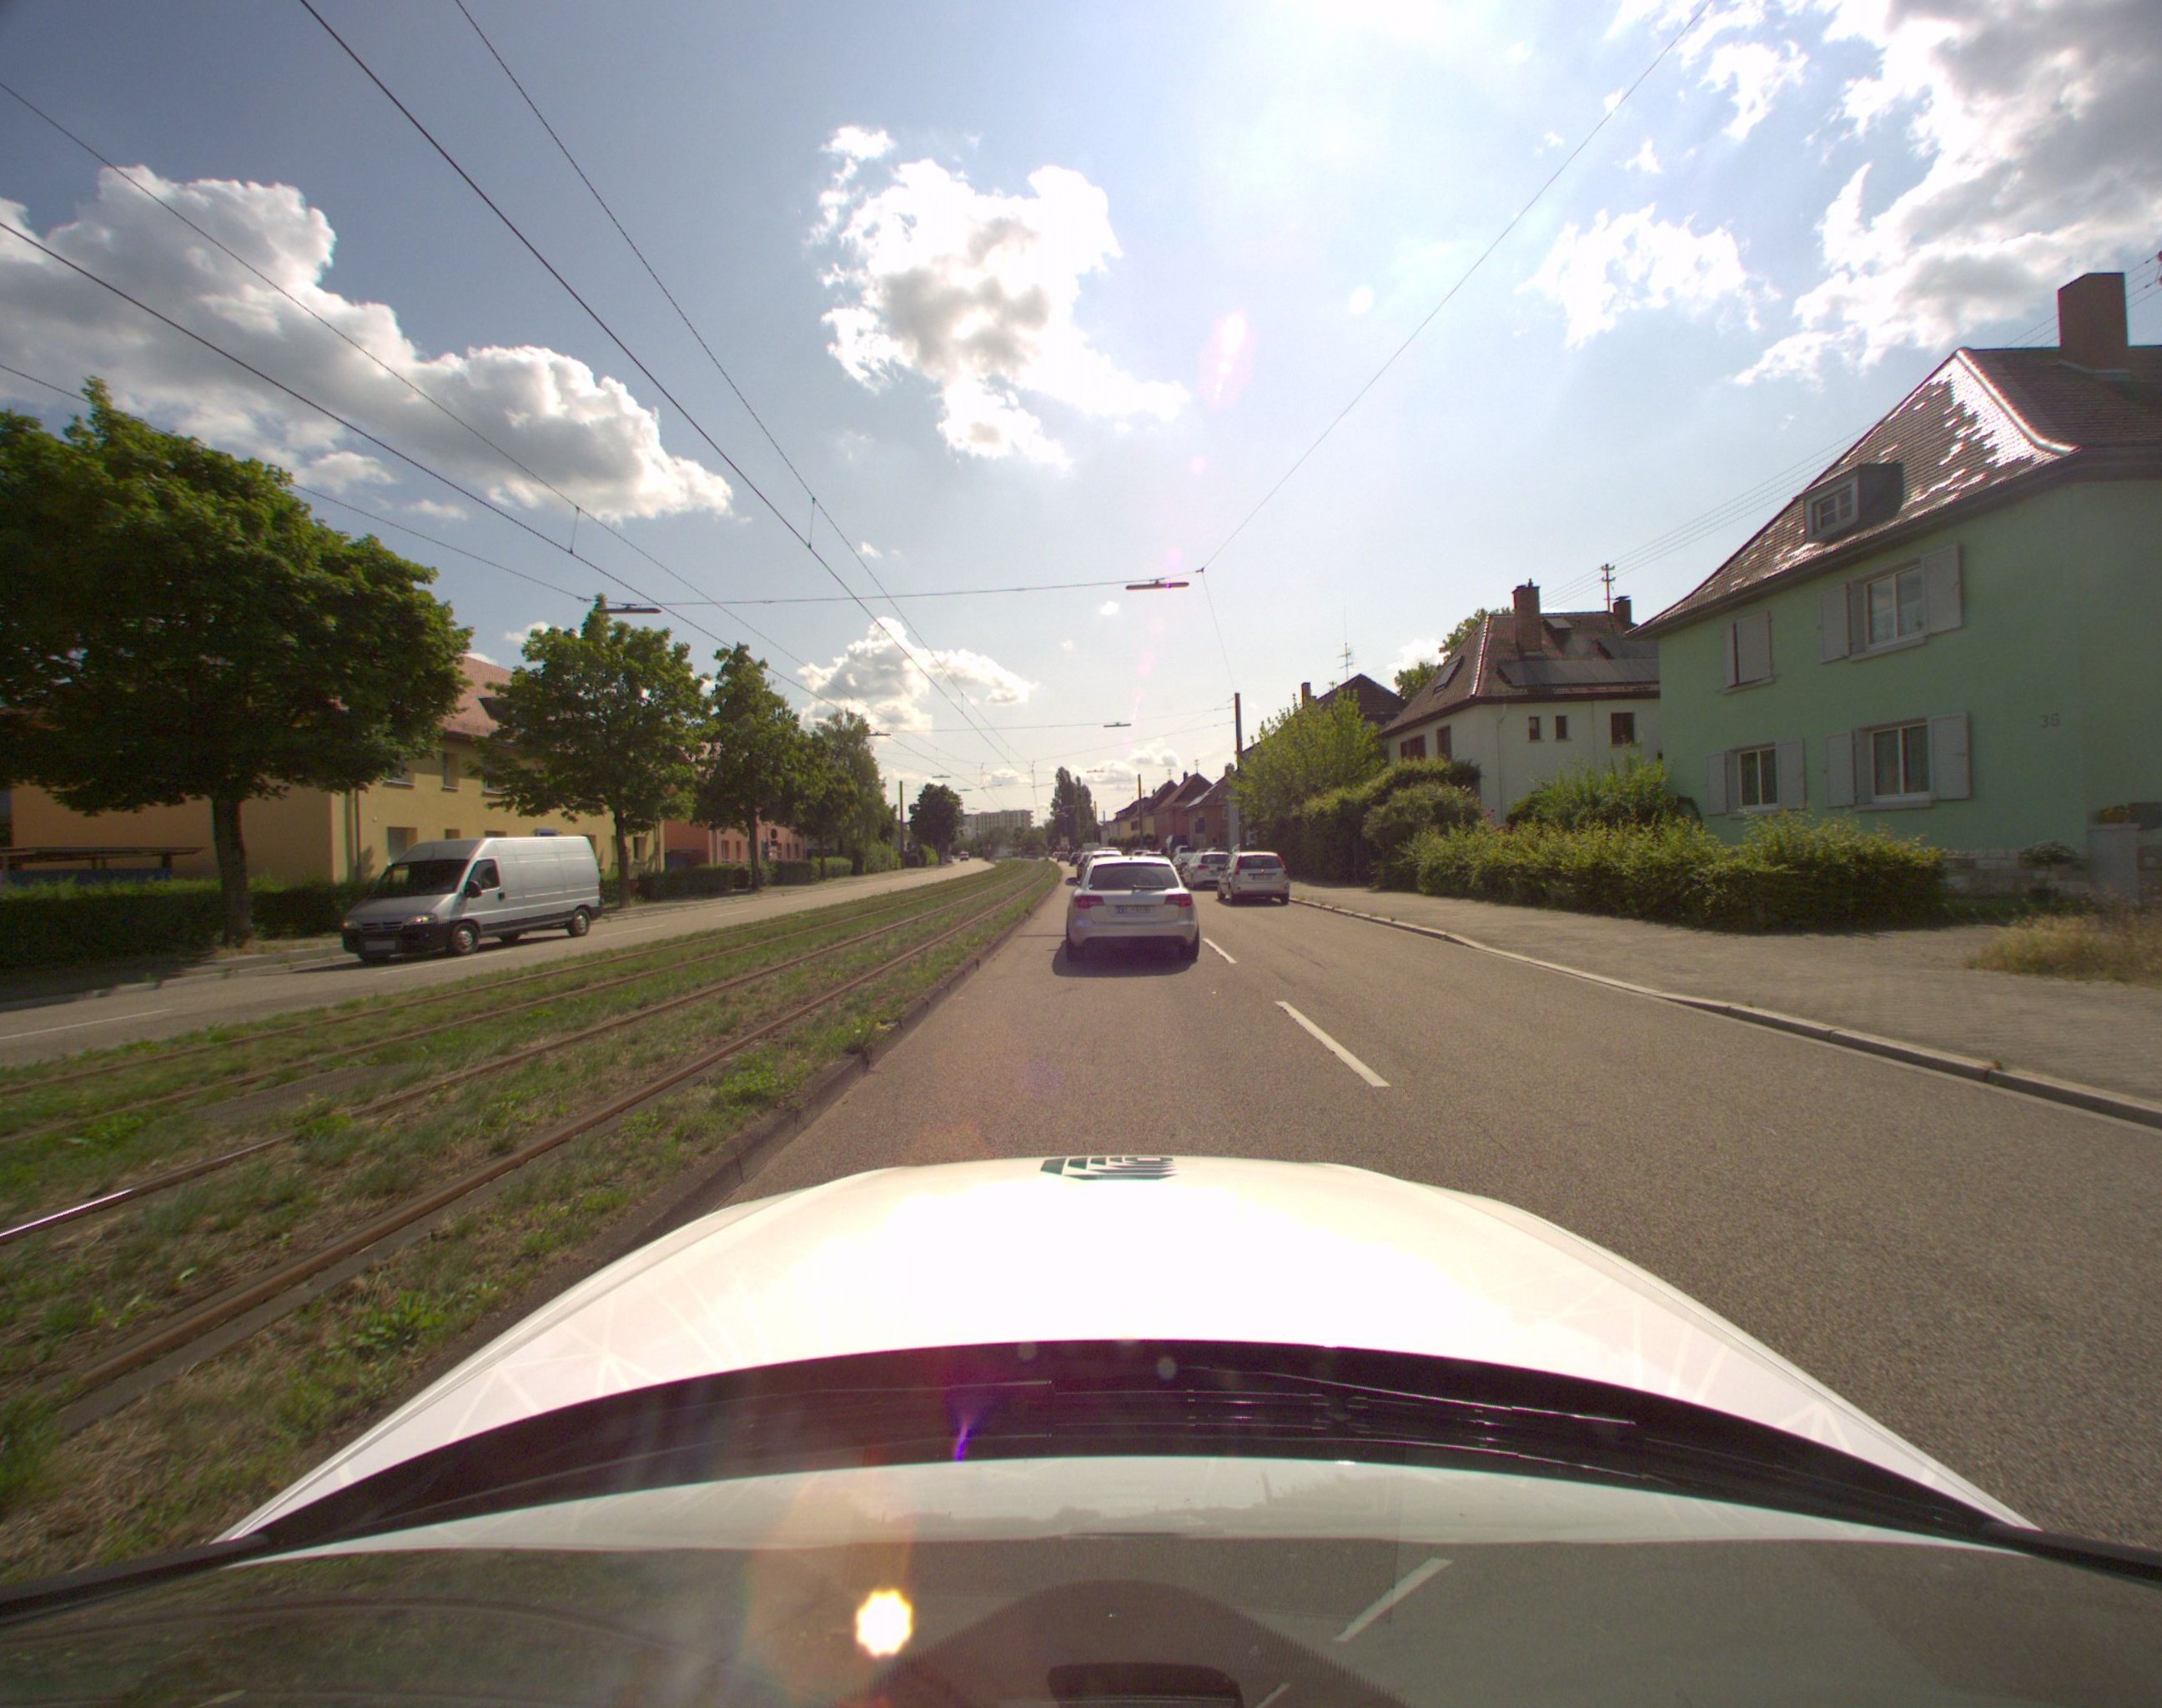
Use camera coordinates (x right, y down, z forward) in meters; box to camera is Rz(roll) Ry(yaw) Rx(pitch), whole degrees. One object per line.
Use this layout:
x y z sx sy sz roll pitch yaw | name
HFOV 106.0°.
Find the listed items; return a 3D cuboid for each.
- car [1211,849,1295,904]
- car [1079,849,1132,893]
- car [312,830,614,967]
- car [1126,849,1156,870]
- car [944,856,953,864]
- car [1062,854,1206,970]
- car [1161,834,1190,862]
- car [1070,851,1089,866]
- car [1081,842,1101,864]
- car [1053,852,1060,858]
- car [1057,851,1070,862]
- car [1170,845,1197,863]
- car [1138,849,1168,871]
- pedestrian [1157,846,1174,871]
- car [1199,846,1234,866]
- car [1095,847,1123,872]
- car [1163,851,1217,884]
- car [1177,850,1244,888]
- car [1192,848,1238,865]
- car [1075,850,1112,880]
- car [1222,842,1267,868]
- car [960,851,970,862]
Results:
5.015 0.621 24.241 1.730 1.489 4.096 0 -1 2 | car
0.885 0.614 31.687 1.782 1.577 4.091 0 0 -2 | car
-13.214 0.828 18.117 2.024 2.436 5.780 -4 0 2 | car
4.683 0.428 64.485 1.803 1.559 4.248 0 -1 -4 | car
-28.800 1.263 177.250 1.784 1.584 3.923 -2 0 -6 | car
0.703 0.756 12.907 1.848 1.492 4.535 -1 0 0 | car
10.092 -0.596 87.391 2.146 2.930 6.239 0 -1 -2 | car
-0.194 0.519 86.326 1.880 1.530 4.092 0 -1 -1 | car
1.197 -0.158 99.132 2.036 2.557 5.226 -2 0 -3 | car
-6.315 0.362 209.710 1.880 1.530 4.092 0 -1 -1 | car
-2.551 0.409 120.229 1.880 1.530 4.092 0 -1 -1 | car
10.160 -0.018 81.139 1.832 1.711 4.858 -3 0 -3 | car
5.025 0.436 57.508 1.808 1.454 4.643 0 0 1 | car
6.608 0.343 63.847 1.109 1.946 1.091 -2 -1 -2 | pedestrian
10.806 0.150 65.129 1.794 1.423 4.853 -3 0 -2 | car
2.045 0.370 59.219 1.878 1.731 4.096 -2 0 2 | car
5.152 0.585 39.014 1.894 1.443 5.056 0 0 0 | car
5.242 0.591 33.579 1.884 1.455 5.004 0 0 -1 | car
11.617 0.199 70.955 3.642 1.380 1.724 -1 -1 -5 | car
0.647 0.557 44.300 1.879 1.466 4.093 -2 0 -1 | car
11.002 0.089 55.172 1.753 1.647 4.762 -3 0 -4 | car
-28.799 0.651 201.993 2.194 2.372 5.320 -3 0 -6 | car
